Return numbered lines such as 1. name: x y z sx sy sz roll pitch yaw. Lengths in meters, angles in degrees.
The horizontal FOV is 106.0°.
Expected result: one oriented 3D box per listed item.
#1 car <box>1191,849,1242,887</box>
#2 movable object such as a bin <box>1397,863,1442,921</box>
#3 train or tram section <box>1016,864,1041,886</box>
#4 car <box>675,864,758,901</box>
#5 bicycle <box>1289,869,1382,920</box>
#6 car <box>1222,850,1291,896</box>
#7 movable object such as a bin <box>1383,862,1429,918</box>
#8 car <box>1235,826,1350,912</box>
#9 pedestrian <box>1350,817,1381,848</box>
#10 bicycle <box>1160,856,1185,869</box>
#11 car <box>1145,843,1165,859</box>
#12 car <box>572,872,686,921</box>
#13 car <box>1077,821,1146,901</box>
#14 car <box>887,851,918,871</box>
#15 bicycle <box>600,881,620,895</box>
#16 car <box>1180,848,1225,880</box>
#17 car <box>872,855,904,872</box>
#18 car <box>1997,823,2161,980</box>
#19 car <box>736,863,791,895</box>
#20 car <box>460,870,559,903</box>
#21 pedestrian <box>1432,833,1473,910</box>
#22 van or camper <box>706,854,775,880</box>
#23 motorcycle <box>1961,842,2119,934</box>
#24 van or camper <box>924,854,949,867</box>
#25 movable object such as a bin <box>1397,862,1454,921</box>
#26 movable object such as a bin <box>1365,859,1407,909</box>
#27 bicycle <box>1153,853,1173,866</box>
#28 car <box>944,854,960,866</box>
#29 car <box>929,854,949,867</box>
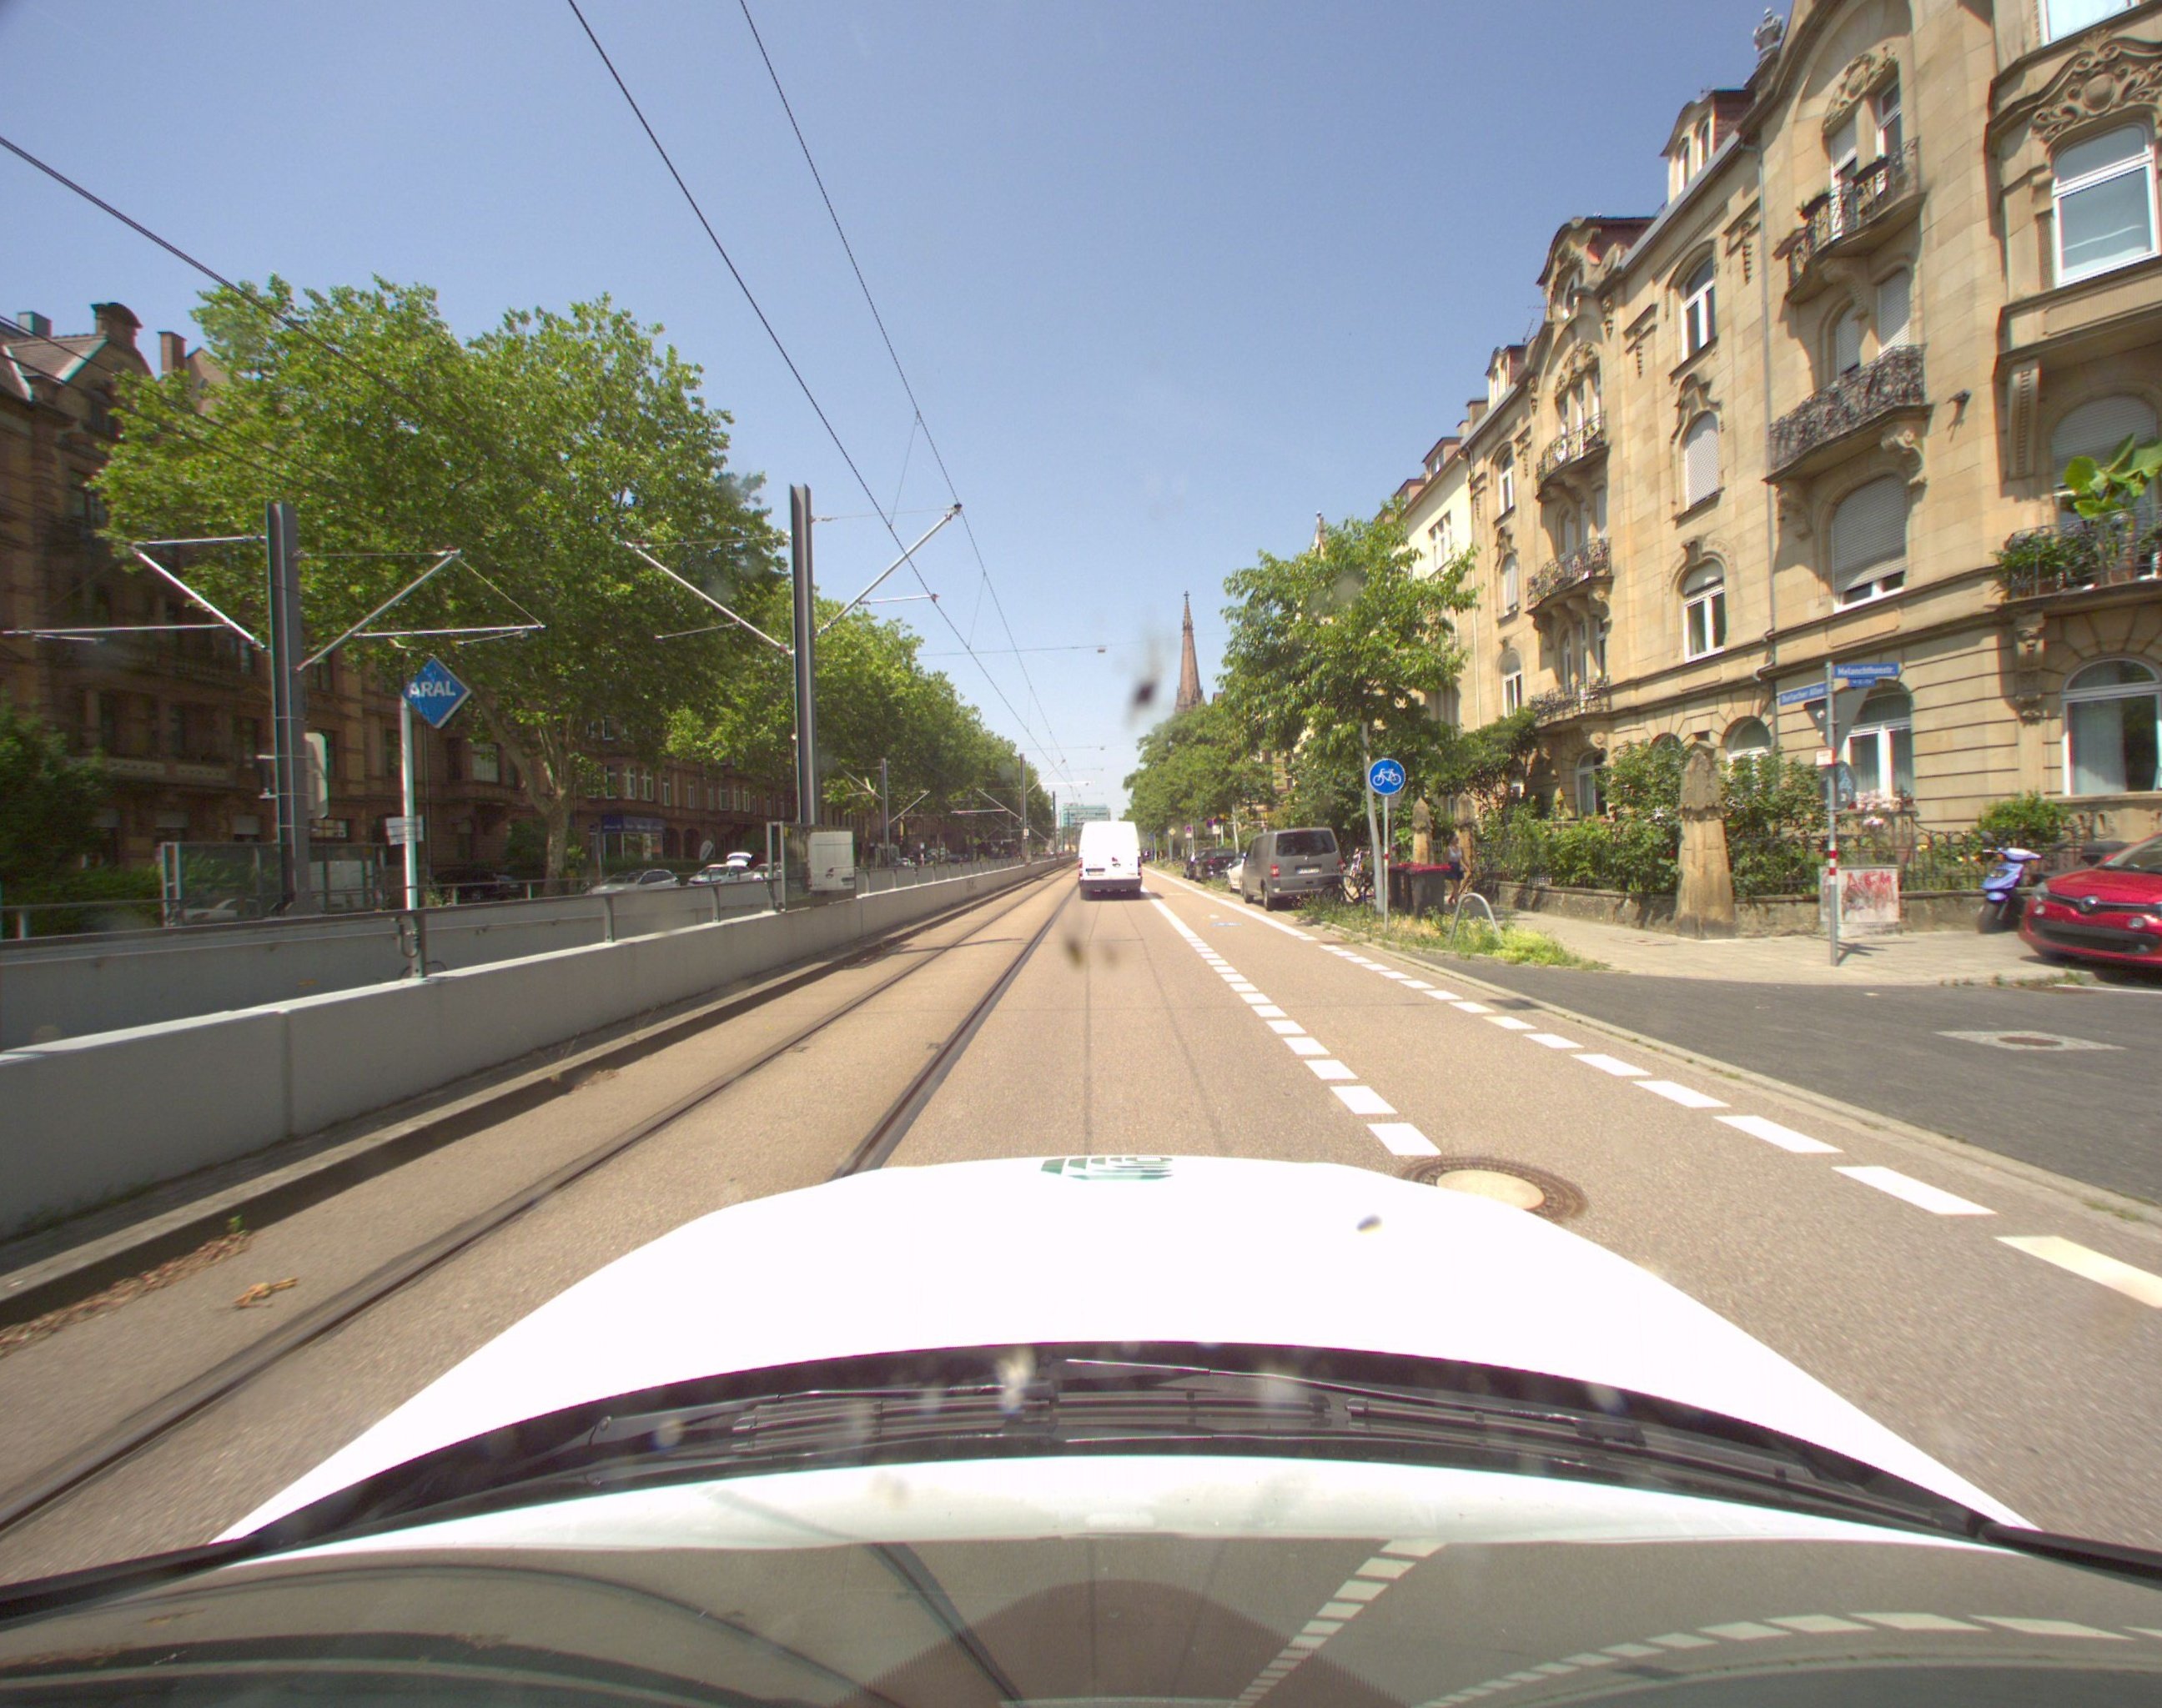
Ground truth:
1. car: 6.008 0.586 36.506 1.661 1.530 4.014 -2 0 2
2. movable object such as a bin: 6.440 0.712 15.504 0.665 1.062 0.497 -2 0 7
3. train or tram section: -6.869 2.721 106.759 2.721 2.508 8.514 -1 0 -1
4. car: -18.323 1.375 41.236 1.987 1.624 4.718 -1 0 1
5. bicycle: 5.496 0.864 17.580 1.880 0.991 0.469 -2 0 -9
6. car: 5.966 0.604 28.126 1.605 1.405 4.002 -2 0 2
7. movable object such as a bin: 6.426 0.704 16.121 0.742 1.062 0.497 -1 0 7
8. car: 5.490 0.344 21.786 1.872 1.947 4.838 -3 0 2
9. pedestrian: 10.115 -0.760 28.947 0.861 1.070 0.762 -1 0 5
10. bicycle: 6.879 0.624 61.174 1.835 0.953 0.503 -2 0 3
11. car: 8.291 -0.369 91.208 2.147 1.670 4.004 -1 0 4
12. car: -16.432 1.498 29.851 1.535 1.561 3.889 -1 0 9
13. car: 0.982 0.210 28.091 2.110 2.459 5.054 -1 0 0
14. car: -17.197 0.657 78.605 1.987 1.904 4.149 -1 0 1
15. bicycle: -24.681 1.765 42.698 0.279 0.650 1.344 -2 0 0
16. car: 6.169 0.487 41.887 1.723 1.536 4.405 -1 0 1
17. car: -17.410 0.872 73.728 1.845 1.401 4.198 -1 0 1
18. car: 12.078 0.403 8.374 3.437 1.491 1.556 -2 0 3
19. car: -18.235 1.417 46.977 1.648 1.684 3.707 -1 0 1
20. car: -27.215 1.528 38.878 3.473 1.425 1.651 -1 0 -3
21. pedestrian: 7.958 0.363 17.457 0.549 1.598 0.728 -1 0 4
22. van or camper: -26.389 0.997 63.224 4.519 1.836 1.936 -2 0 7
23. motorcycle: 12.930 0.453 11.003 1.497 1.163 0.469 -2 0 3
24. van or camper: -24.861 1.109 140.291 3.975 2.013 1.999 -2 0 -1
25. movable object such as a bin: 6.258 0.679 14.817 0.783 1.014 0.651 -2 0 7
26. movable object such as a bin: 6.399 0.614 17.102 0.595 1.011 0.564 -1 0 -9
27. bicycle: 8.189 0.532 81.049 1.881 1.182 0.640 -2 0 -1
28. car: -16.641 0.795 105.116 1.368 1.423 3.090 -2 0 2
29. car: -16.911 0.722 97.035 1.586 1.448 4.002 -1 0 2
